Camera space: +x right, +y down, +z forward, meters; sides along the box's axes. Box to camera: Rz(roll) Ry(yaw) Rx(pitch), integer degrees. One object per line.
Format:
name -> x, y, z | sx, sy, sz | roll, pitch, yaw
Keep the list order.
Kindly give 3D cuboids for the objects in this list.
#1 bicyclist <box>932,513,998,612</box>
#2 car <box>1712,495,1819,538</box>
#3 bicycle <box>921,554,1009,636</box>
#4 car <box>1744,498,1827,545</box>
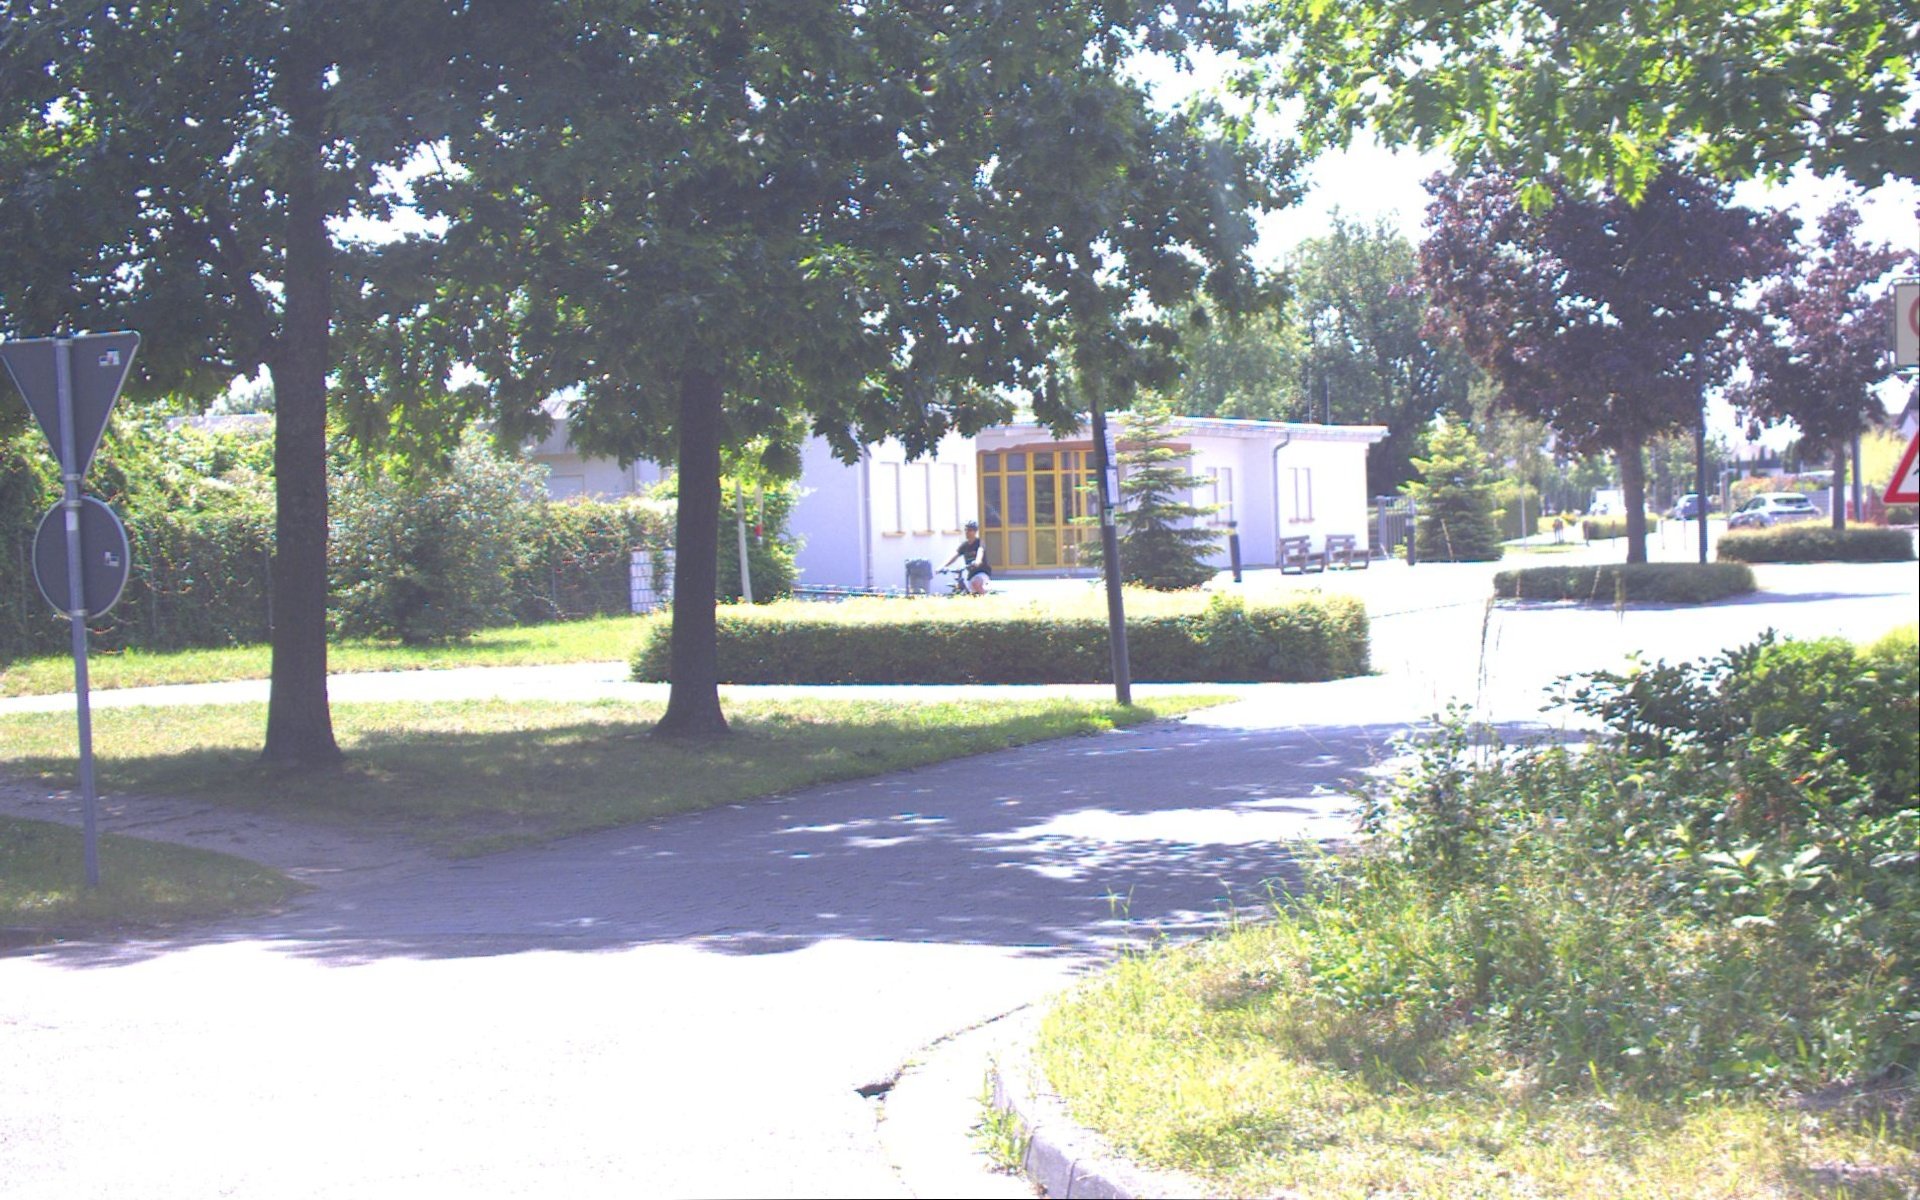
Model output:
bicyclist -> 0.062, -0.455, 41.403 | 0.597, 1.160, 0.648 | -2, 1, 17
car -> 25.506, -2.640, 108.987 | 1.993, 1.284, 4.001 | -2, 1, -7
bicycle -> 0.064, -0.064, 41.372 | 0.597, 0.925, 1.619 | -2, 1, 17
car -> 23.561, -2.242, 98.207 | 1.614, 1.284, 3.557 | -2, 1, 2
